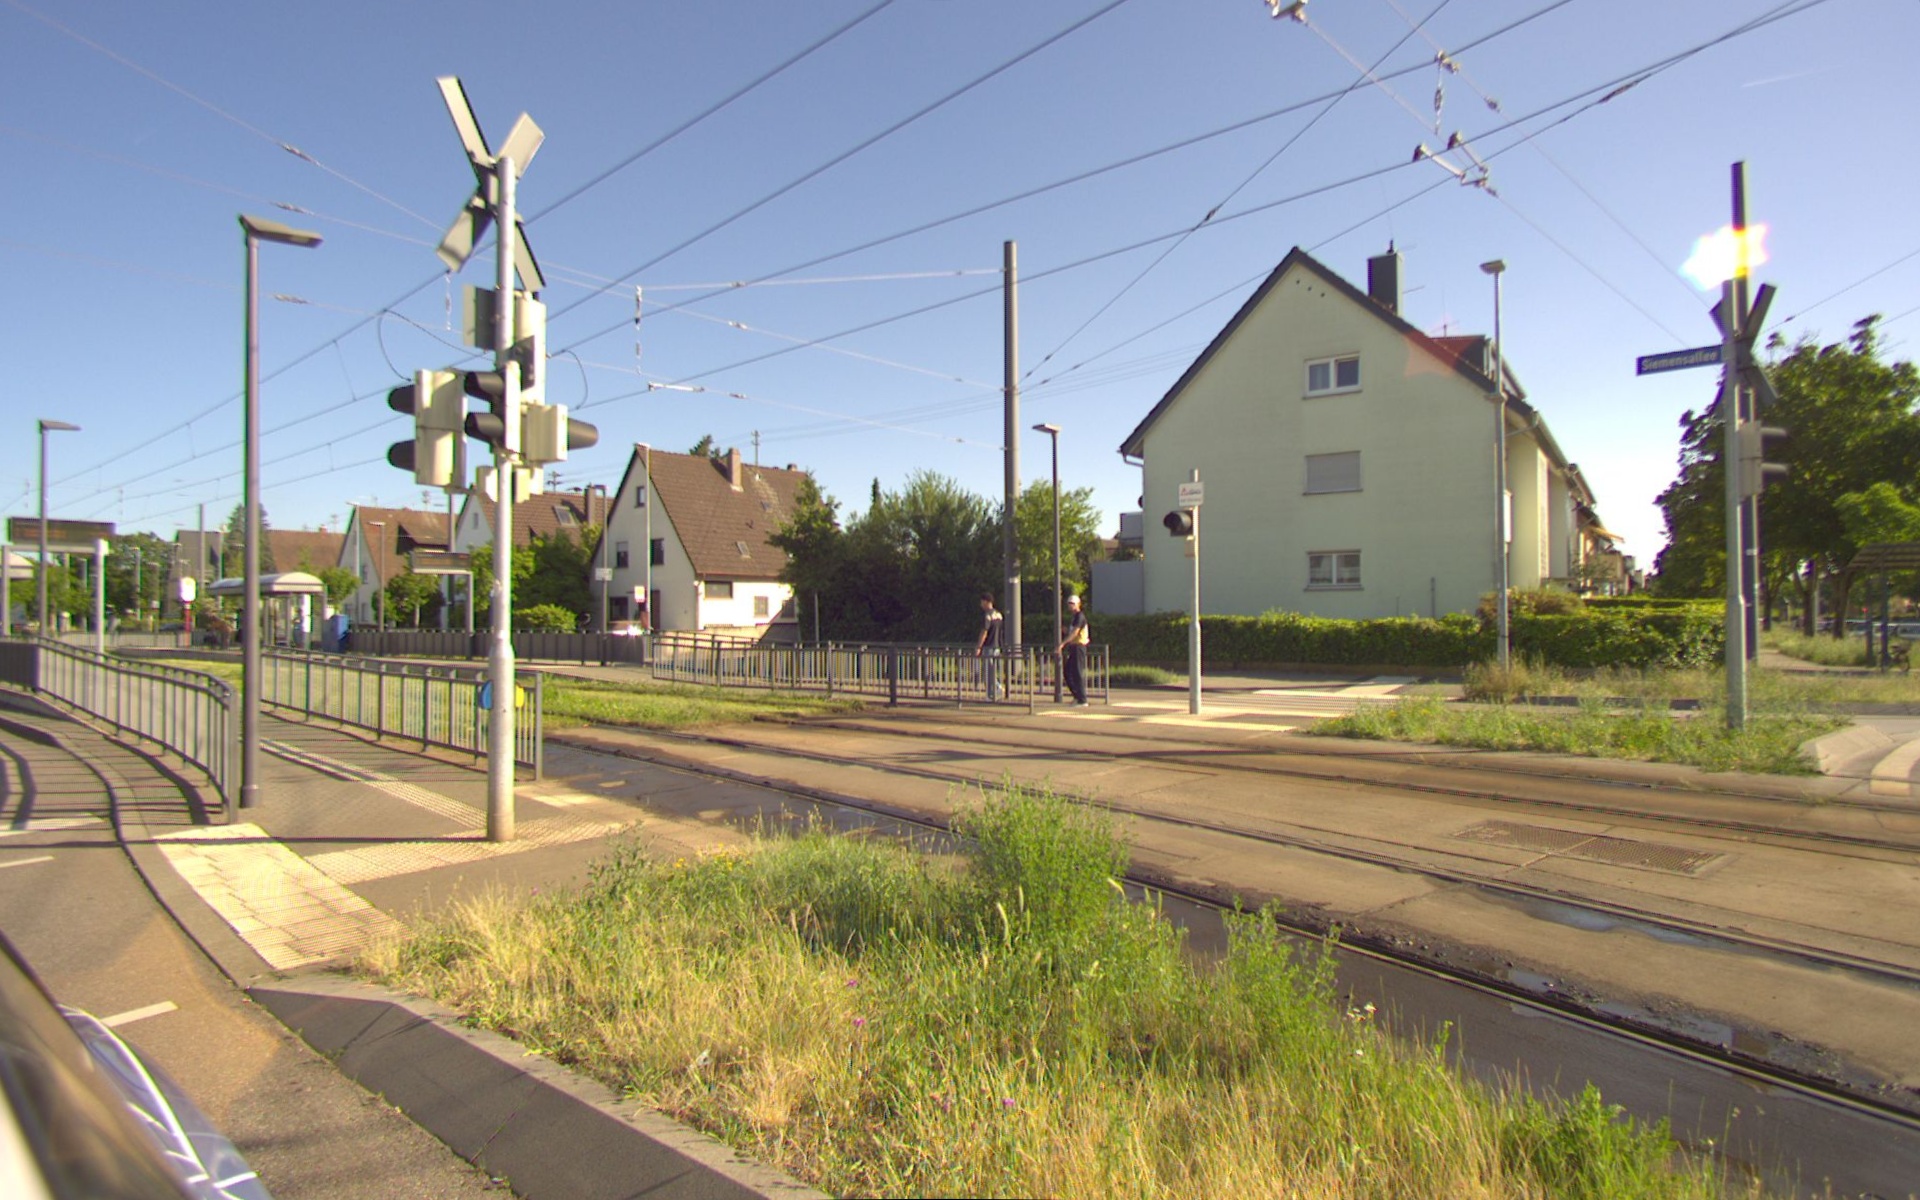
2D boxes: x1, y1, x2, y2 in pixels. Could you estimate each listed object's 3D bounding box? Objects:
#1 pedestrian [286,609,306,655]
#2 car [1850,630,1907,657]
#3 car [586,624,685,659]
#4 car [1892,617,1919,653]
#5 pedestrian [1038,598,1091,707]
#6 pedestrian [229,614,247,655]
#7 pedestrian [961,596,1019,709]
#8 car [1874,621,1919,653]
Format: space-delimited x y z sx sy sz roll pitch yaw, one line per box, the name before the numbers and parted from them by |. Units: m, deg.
pedestrian | -25.619 1.237 39.034 0.612 1.766 0.443 0 -2 -30
car | 49.466 2.341 54.576 1.823 1.403 3.822 -1 -2 36
car | -14.846 1.875 46.472 1.997 1.547 3.941 -2 -2 37
car | 42.139 1.513 44.053 1.823 1.403 3.745 -1 0 36
pedestrian | 1.683 0.816 16.204 0.721 1.673 0.792 0 1 16
pedestrian | -31.129 1.471 43.638 0.543 1.766 0.528 -2 -2 40
pedestrian | 0.494 0.835 16.495 0.818 1.784 0.686 0 1 16
car | 46.027 1.771 49.245 1.823 1.403 3.822 -1 0 36
